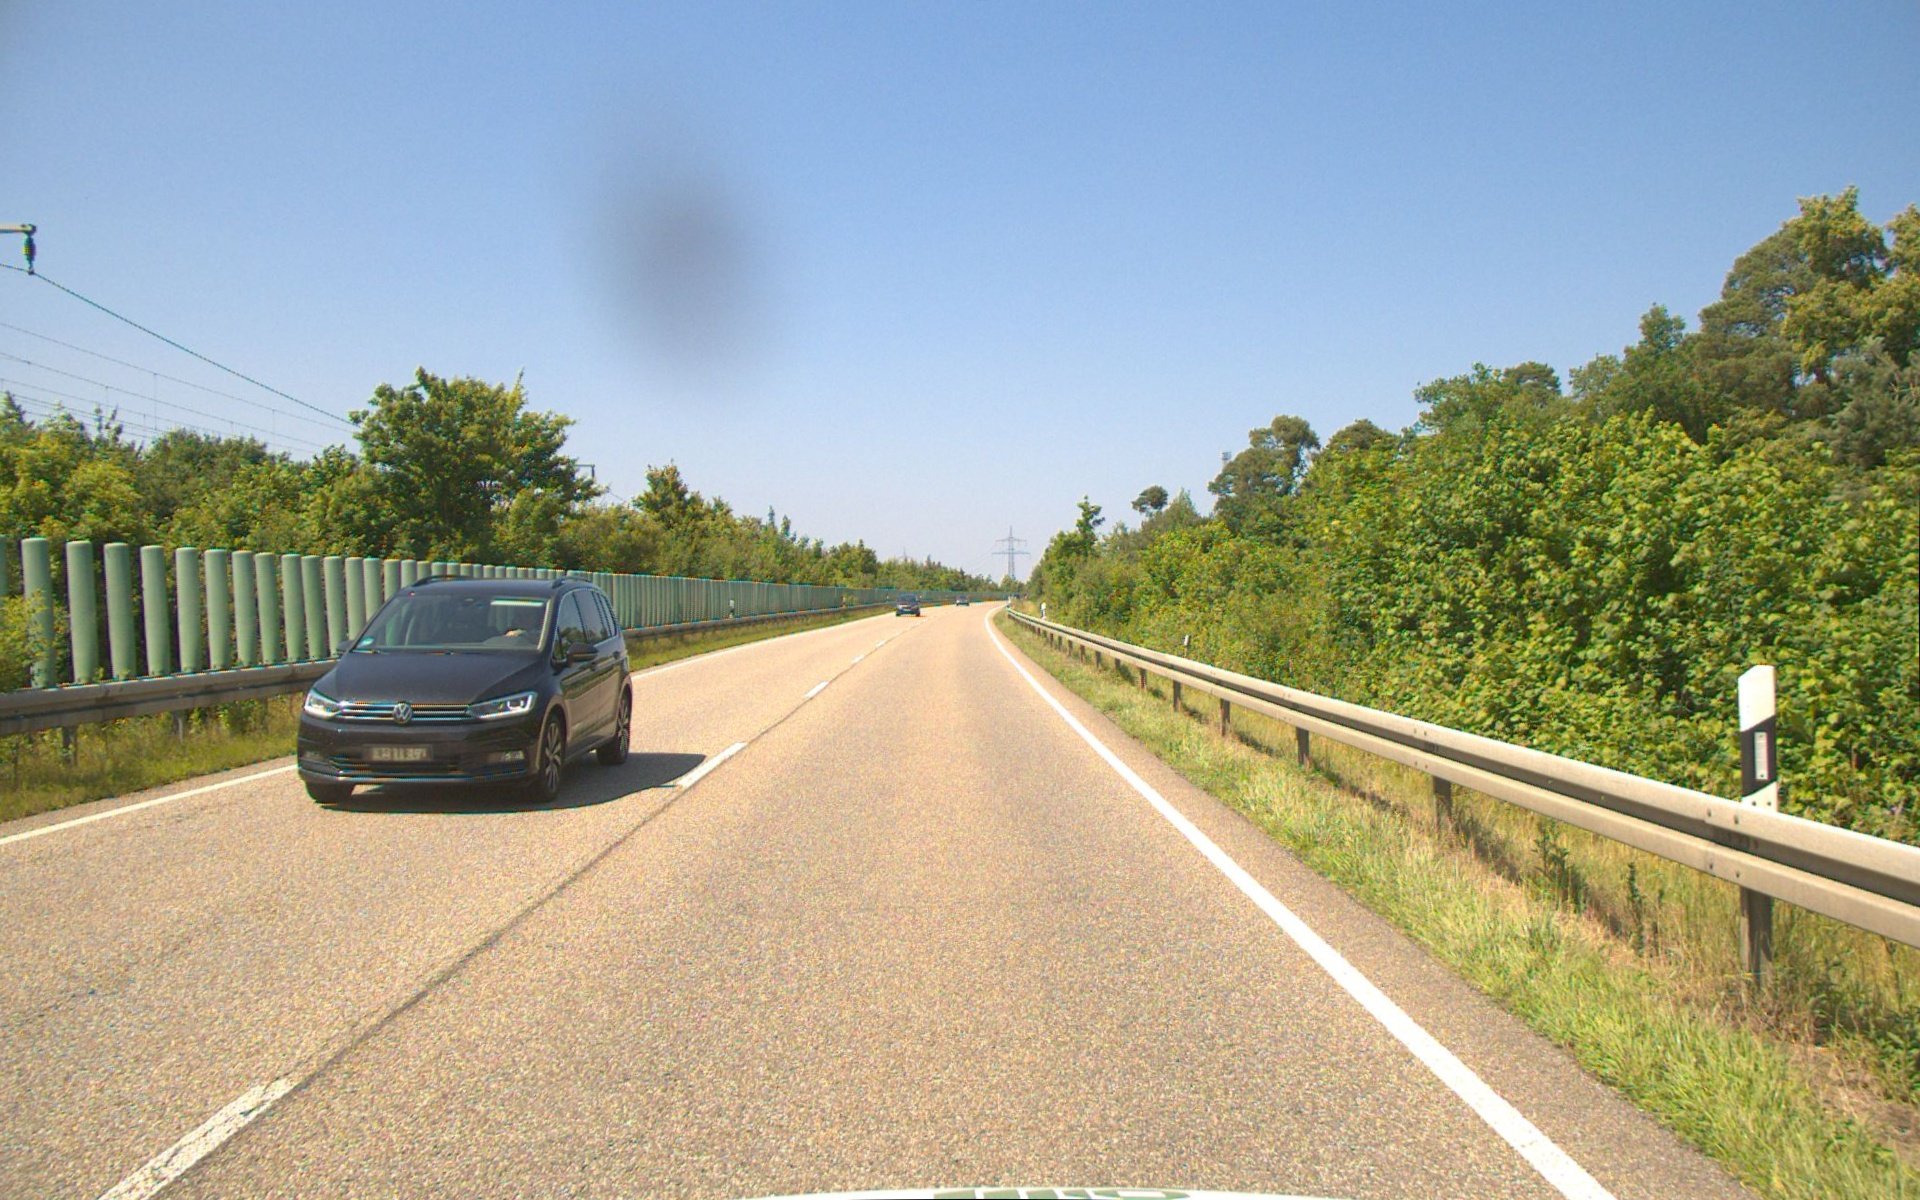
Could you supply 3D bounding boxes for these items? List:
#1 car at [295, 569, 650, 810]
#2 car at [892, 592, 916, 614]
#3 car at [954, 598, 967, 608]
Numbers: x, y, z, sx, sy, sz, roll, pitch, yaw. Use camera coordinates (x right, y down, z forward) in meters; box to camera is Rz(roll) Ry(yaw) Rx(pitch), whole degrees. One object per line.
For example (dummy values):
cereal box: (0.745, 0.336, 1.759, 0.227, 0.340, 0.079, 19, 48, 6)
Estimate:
car: (-3.779, 0.625, 13.568, 1.728, 1.669, 4.125, 0, 0, -1)
car: (-3.958, 0.183, 116.609, 1.615, 1.505, 3.676, 0, 0, -1)
car: (0.089, 0.423, 229.929, 1.749, 1.395, 3.898, 0, 1, 2)
